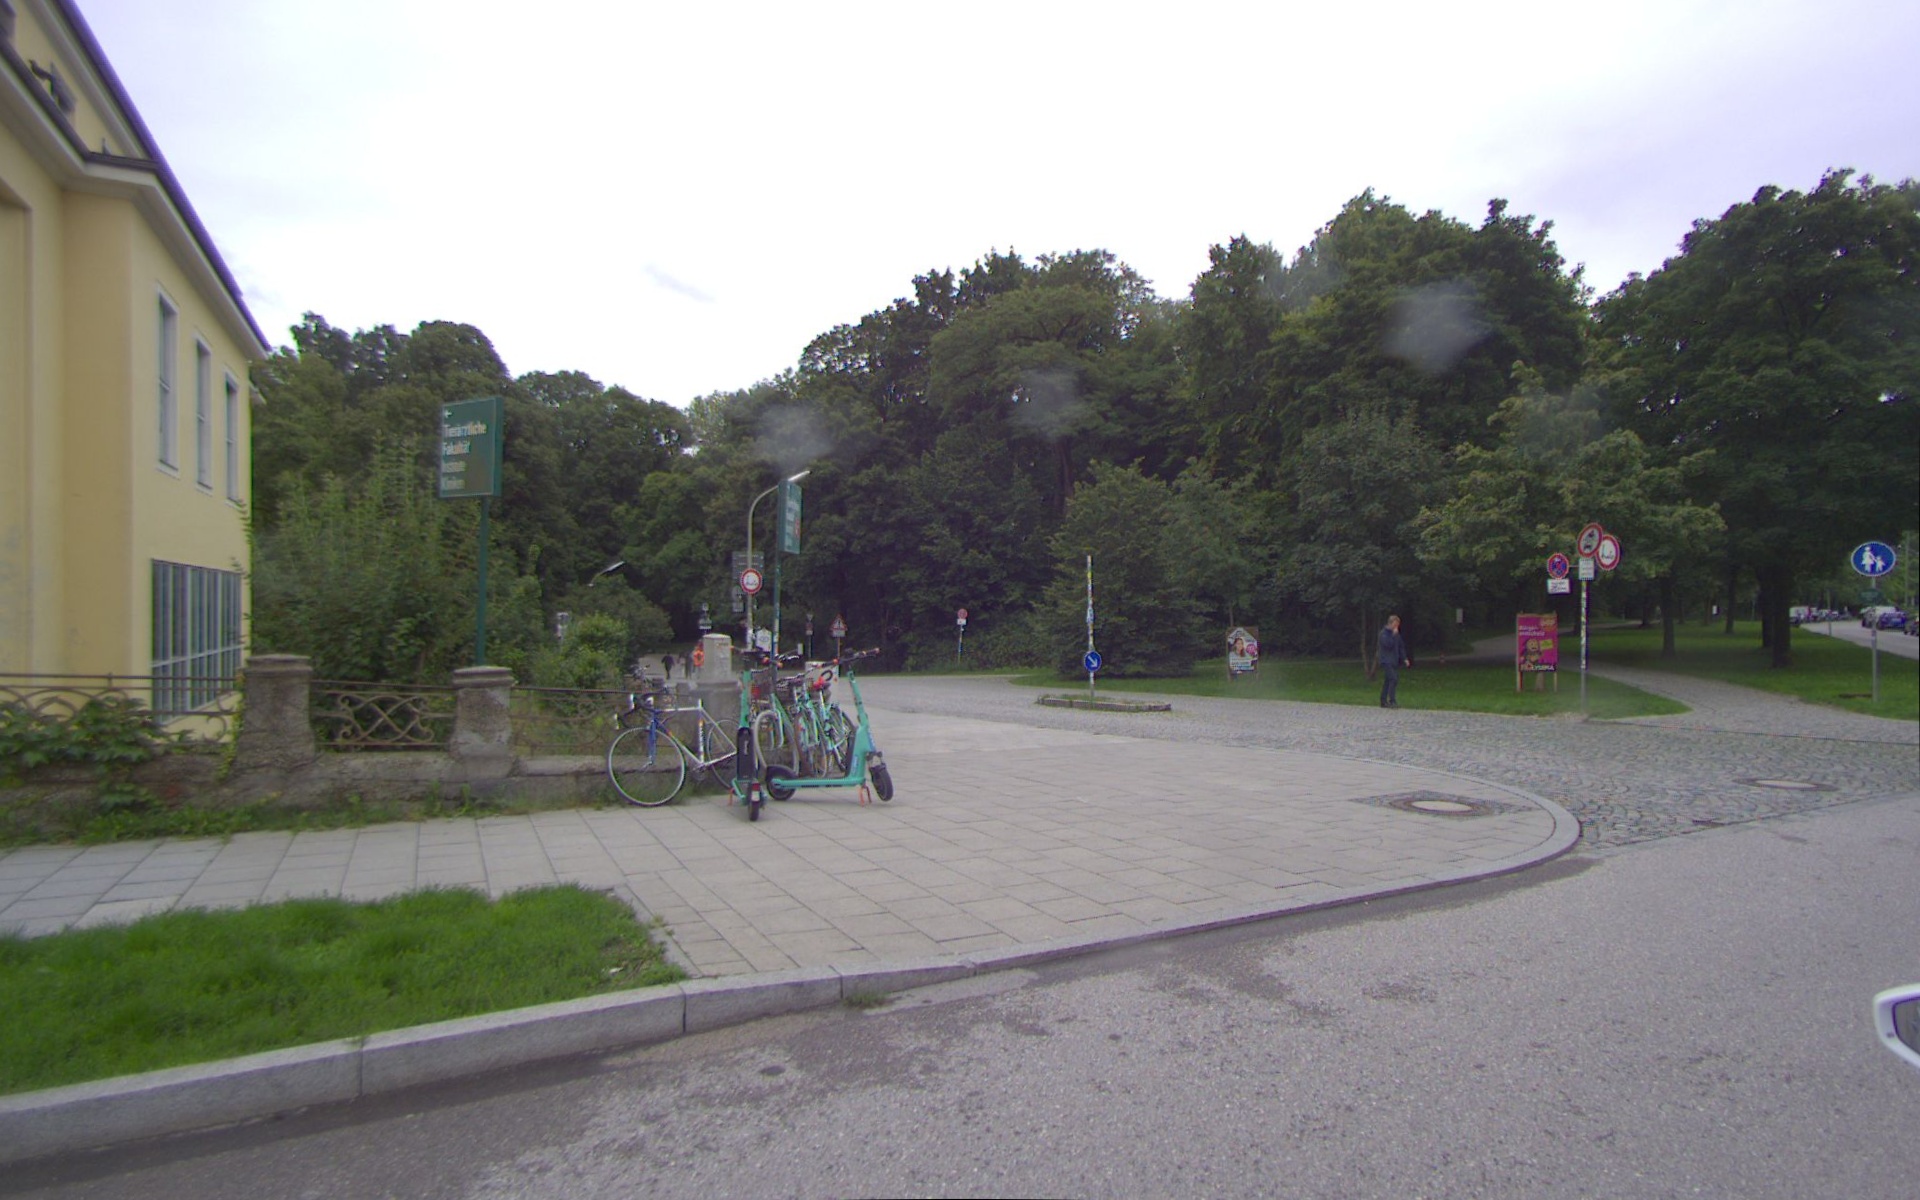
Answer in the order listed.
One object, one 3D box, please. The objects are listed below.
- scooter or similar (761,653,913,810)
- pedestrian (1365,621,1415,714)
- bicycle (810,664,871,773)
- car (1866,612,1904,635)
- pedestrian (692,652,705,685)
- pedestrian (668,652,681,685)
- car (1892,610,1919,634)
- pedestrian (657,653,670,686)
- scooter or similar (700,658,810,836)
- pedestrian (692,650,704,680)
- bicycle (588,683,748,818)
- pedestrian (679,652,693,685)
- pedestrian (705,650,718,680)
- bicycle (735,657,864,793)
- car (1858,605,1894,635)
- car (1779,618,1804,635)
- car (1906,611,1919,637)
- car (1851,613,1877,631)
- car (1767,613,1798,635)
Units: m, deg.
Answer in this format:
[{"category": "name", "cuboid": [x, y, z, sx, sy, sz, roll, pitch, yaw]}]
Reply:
[{"category": "scooter or similar", "cuboid": [-1.005, 1.056, 8.257, 1.158, 1.235, 0.447, -1, -3, 11]}, {"category": "pedestrian", "cuboid": [8.398, 1.301, 19.613, 0.721, 1.776, 0.656, -1, -1, 42]}, {"category": "bicycle", "cuboid": [-1.359, 1.329, 11.537, 0.642, 1.148, 1.737, 0, -4, -6]}, {"category": "car", "cuboid": [76.257, 1.910, 82.857, 1.852, 1.840, 3.984, -1, -2, 37]}, {"category": "pedestrian", "cuboid": [-14.477, 3.791, 55.545, 0.591, 1.768, 0.808, 0, -1, -24]}, {"category": "pedestrian", "cuboid": [-15.691, 3.784, 55.247, 0.591, 1.768, 0.808, 0, -1, -24]}, {"category": "car", "cuboid": [67.695, 1.575, 71.005, 2.149, 1.679, 4.489, -1, -2, 37]}, {"category": "pedestrian", "cuboid": [-16.266, 3.780, 55.068, 0.591, 1.768, 0.808, 0, -1, -24]}, {"category": "scooter or similar", "cuboid": [-1.596, 1.070, 7.705, 0.594, 1.235, 1.175, 1, -3, -24]}, {"category": "pedestrian", "cuboid": [-15.726, 3.881, 60.204, 0.591, 1.768, 0.808, 0, -1, -24]}, {"category": "bicycle", "cuboid": [-2.344, 1.179, 8.152, 0.464, 0.935, 1.200, 0, -1, 38]}, {"category": "pedestrian", "cuboid": [-15.166, 3.765, 55.599, 0.591, 1.768, 0.808, 0, -1, -24]}, {"category": "pedestrian", "cuboid": [-14.994, 3.922, 60.575, 0.591, 1.768, 0.808, 0, -1, -24]}, {"category": "bicycle", "cuboid": [-1.526, 1.168, 9.804, 0.641, 1.149, 1.502, 0, -1, 17]}, {"category": "car", "cuboid": [82.177, 1.822, 90.158, 1.852, 2.602, 4.912, -1, -2, 37]}, {"category": "car", "cuboid": [93.157, 2.952, 112.541, 1.969, 1.862, 3.984, -1, -2, 38]}, {"category": "car", "cuboid": [64.148, 1.556, 66.177, 2.149, 1.679, 4.489, -1, -2, 37]}, {"category": "car", "cuboid": [89.260, 2.169, 99.177, 1.624, 1.674, 4.266, 0, -1, 38]}, {"category": "car", "cuboid": [71.378, 2.092, 87.220, 1.969, 1.862, 3.984, -1, -2, 38]}]
